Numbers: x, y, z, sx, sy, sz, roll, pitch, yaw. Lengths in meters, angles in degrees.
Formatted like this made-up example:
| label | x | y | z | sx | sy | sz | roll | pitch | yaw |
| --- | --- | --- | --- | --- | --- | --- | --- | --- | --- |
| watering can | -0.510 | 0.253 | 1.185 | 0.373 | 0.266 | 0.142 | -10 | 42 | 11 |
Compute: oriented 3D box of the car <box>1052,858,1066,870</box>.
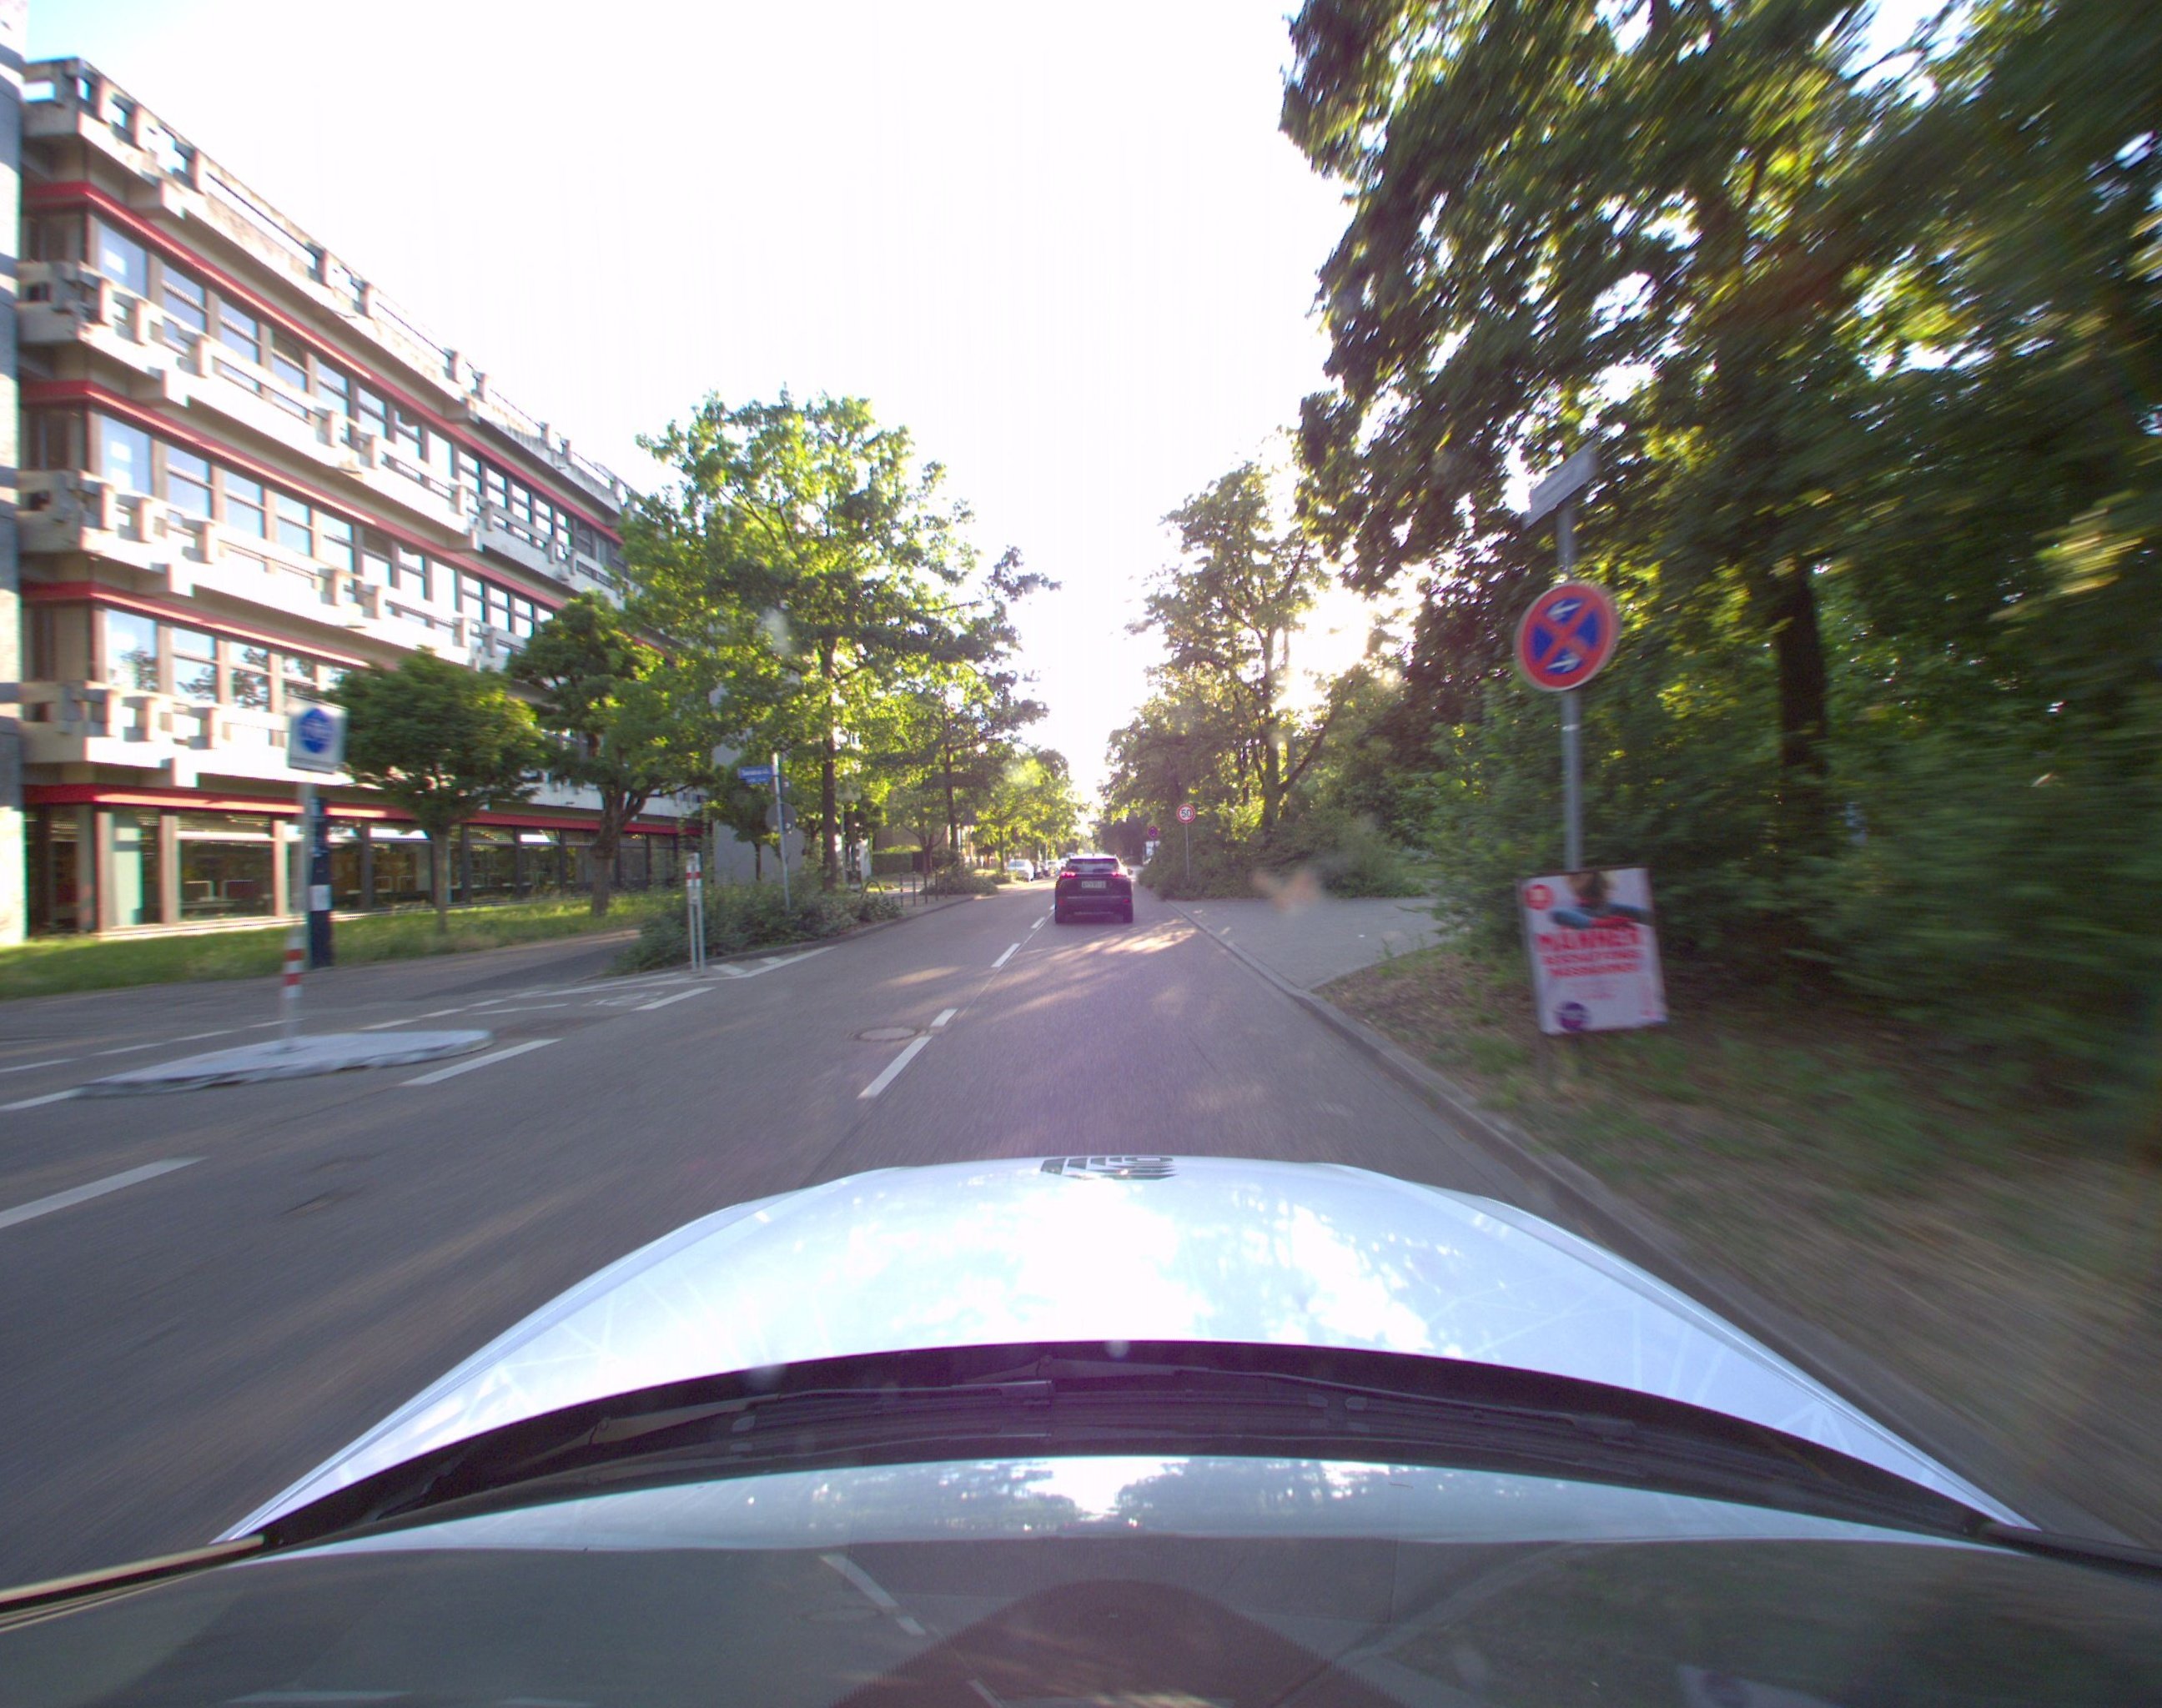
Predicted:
| label | x | y | z | sx | sy | sz | roll | pitch | yaw |
| --- | --- | --- | --- | --- | --- | --- | --- | --- | --- |
| car | -2.887 | 1.303 | 107.102 | 1.806 | 1.354 | 3.997 | -2 | 0 | -2 |

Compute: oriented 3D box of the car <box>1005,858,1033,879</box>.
| label | x | y | z | sx | sy | sz | roll | pitch | yaw |
| --- | --- | --- | --- | --- | --- | --- | --- | --- | --- |
| car | -4.287 | 0.963 | 56.960 | 1.806 | 1.354 | 3.995 | -2 | 0 | -3 |

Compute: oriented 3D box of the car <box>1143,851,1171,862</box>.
| label | x | y | z | sx | sy | sz | roll | pitch | yaw |
| --- | --- | --- | --- | --- | --- | --- | --- | --- | --- |
| car | 11.762 | 0.434 | 126.315 | 3.977 | 1.582 | 1.814 | -2 | 0 | -3 |

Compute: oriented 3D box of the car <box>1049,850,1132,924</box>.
| label | x | y | z | sx | sy | sz | roll | pitch | yaw |
| --- | --- | --- | --- | --- | --- | --- | --- | --- | --- |
| car | 0.229 | 0.707 | 19.355 | 1.762 | 1.568 | 3.381 | -1 | 0 | 1 |

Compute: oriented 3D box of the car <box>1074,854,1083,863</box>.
| label | x | y | z | sx | sy | sz | roll | pitch | yaw |
| --- | --- | --- | --- | --- | --- | --- | --- | --- | --- |
| car | -0.571 | 1.016 | 181.511 | 1.900 | 1.867 | 3.950 | -2 | 0 | 1 |

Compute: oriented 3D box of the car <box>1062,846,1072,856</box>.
| label | x | y | z | sx | sy | sz | roll | pitch | yaw |
| --- | --- | --- | --- | --- | --- | --- | --- | --- | --- |
| car | -2.754 | -0.545 | 162.025 | 1.900 | 1.867 | 3.950 | -2 | 0 | 1 |

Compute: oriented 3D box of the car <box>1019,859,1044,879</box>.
| label | x | y | z | sx | sy | sz | roll | pitch | yaw |
| --- | --- | --- | --- | --- | --- | --- | --- | --- | --- |
| car | -3.797 | 1.139 | 63.199 | 1.806 | 1.354 | 3.997 | -2 | 0 | -2 |

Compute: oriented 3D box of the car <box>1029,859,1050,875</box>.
| label | x | y | z | sx | sy | sz | roll | pitch | yaw |
| --- | --- | --- | --- | --- | --- | --- | --- | --- | --- |
| car | -3.733 | 1.177 | 74.532 | 1.806 | 1.354 | 3.997 | -2 | 0 | -2 |

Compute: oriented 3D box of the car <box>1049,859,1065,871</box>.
| label | x | y | z | sx | sy | sz | roll | pitch | yaw |
| --- | --- | --- | --- | --- | --- | --- | --- | --- | --- |
| car | -2.896 | 1.270 | 96.892 | 1.806 | 1.354 | 3.975 | -2 | 0 | -2 |

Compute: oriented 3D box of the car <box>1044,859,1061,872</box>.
| label | x | y | z | sx | sy | sz | roll | pitch | yaw |
| --- | --- | --- | --- | --- | --- | --- | --- | --- | --- |
| car | -3.158 | 1.239 | 89.491 | 1.806 | 1.354 | 3.997 | -2 | 0 | -2 |
